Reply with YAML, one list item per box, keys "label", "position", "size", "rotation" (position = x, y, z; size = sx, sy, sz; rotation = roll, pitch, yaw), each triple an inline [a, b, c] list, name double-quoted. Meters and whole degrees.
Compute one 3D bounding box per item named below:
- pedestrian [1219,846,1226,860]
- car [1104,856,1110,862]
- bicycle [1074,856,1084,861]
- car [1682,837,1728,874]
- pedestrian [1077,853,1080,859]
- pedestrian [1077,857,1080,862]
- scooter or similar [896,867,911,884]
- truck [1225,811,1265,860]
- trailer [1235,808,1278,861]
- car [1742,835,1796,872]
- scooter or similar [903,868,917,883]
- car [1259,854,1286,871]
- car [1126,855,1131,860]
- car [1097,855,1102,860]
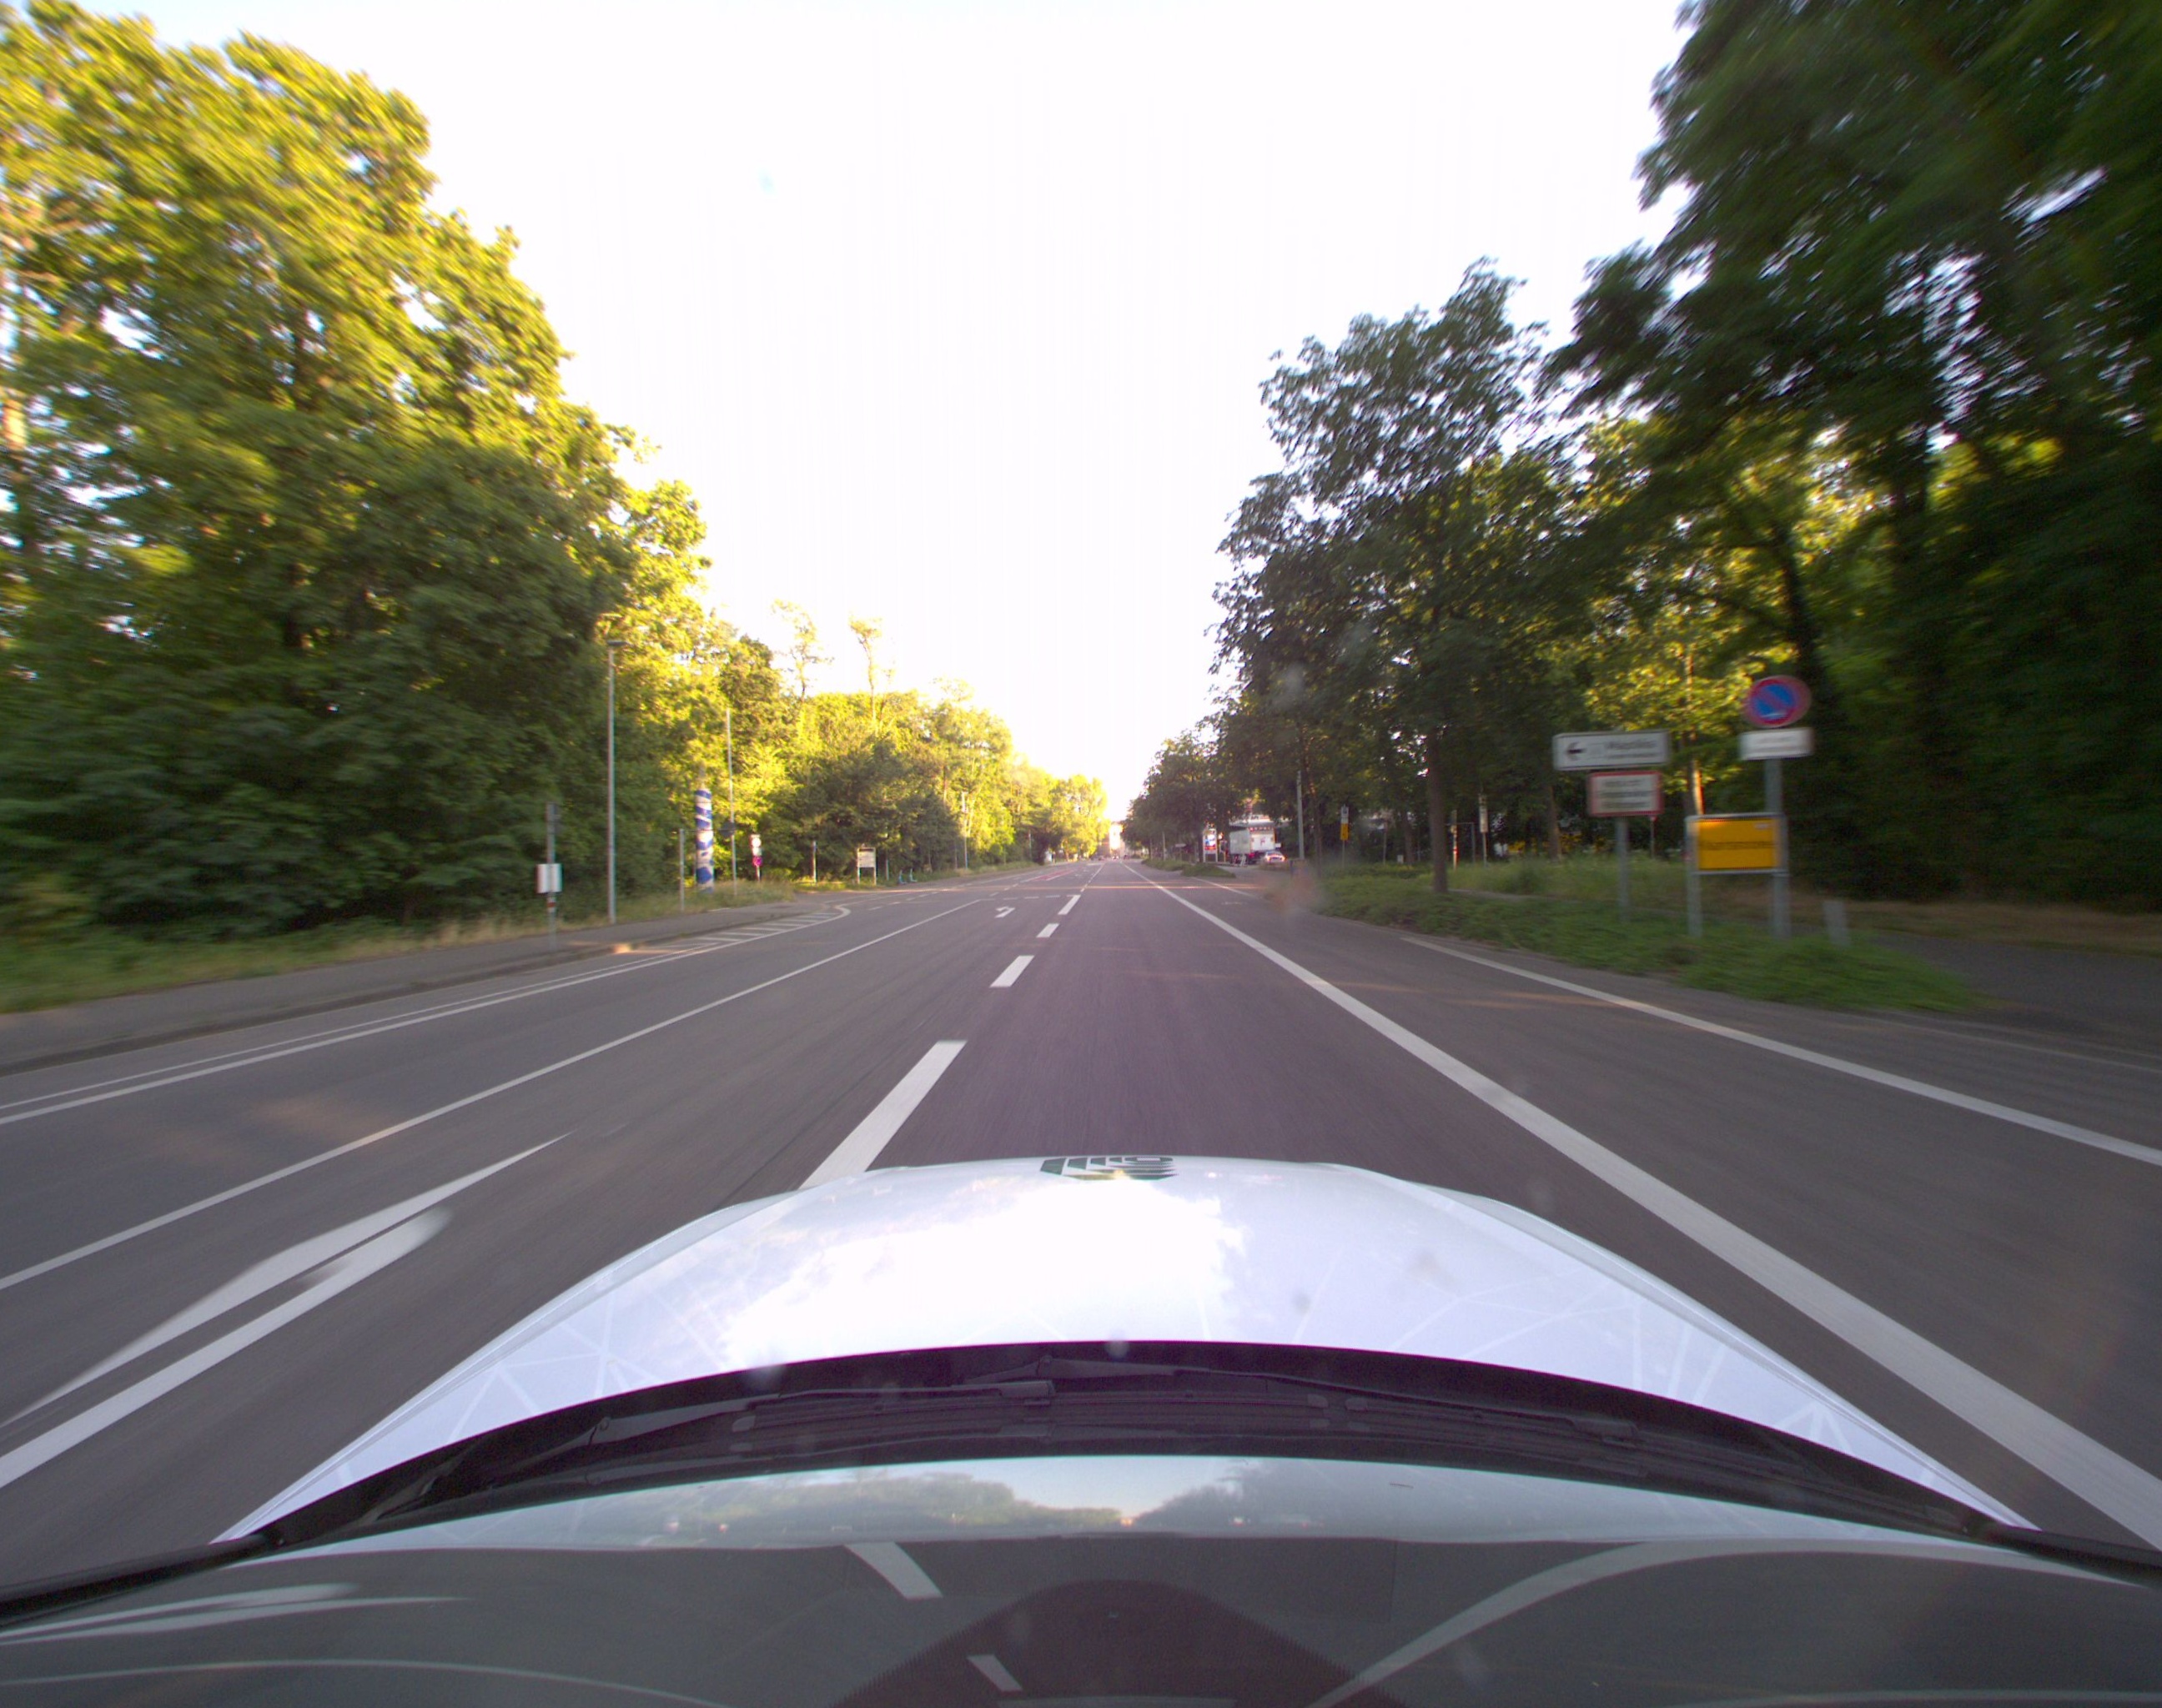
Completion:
- label: "pedestrian"
  position: [17.325, -0.128, 99.777]
  size: [0.753, 1.798, 0.708]
  rotation: [-1, 0, 5]
- label: "car"
  position: [7.311, 1.415, 227.144]
  size: [1.487, 1.486, 3.493]
  rotation: [-2, 0, 3]
- label: "bicycle"
  position: [-0.600, 1.335, 227.391]
  size: [2.446, 1.195, 0.759]
  rotation: [-2, -1, 11]
- label: "car"
  position: [29.372, 0.048, 38.393]
  size: [1.521, 1.585, 3.865]
  rotation: [-2, 0, 35]
- label: "pedestrian"
  position: [-0.634, 0.545, 227.369]
  size: [0.785, 1.580, 0.748]
  rotation: [-1, 0, 11]
- label: "pedestrian"
  position: [-0.817, 1.526, 235.391]
  size: [0.785, 1.580, 0.748]
  rotation: [-1, 0, 11]
- label: "scooter or similar"
  position: [-12.054, 1.441, 55.267]
  size: [0.357, 1.110, 0.885]
  rotation: [-2, 0, 44]
- label: "truck"
  position: [19.265, -2.071, 96.249]
  size: [3.022, 5.455, 8.412]
  rotation: [-2, 0, 1]
- label: "trailer"
  position: [19.048, -2.045, 88.914]
  size: [3.009, 5.462, 7.938]
  rotation: [-2, 0, 2]
- label: "car"
  position: [31.267, -0.050, 37.098]
  size: [1.521, 1.585, 3.865]
  rotation: [-2, 0, 35]
- label: "scooter or similar"
  position: [-12.314, 1.526, 58.644]
  size: [0.901, 1.068, 0.492]
  rotation: [-2, 0, -23]
- label: "car"
  position: [17.894, 0.792, 76.278]
  size: [1.761, 1.583, 4.826]
  rotation: [-1, 0, 6]
- label: "car"
  position: [14.585, 0.979, 250.831]
  size: [1.487, 1.486, 3.493]
  rotation: [-2, 0, 3]
- label: "car"
  position: [5.666, 1.133, 248.332]
  size: [1.487, 1.291, 3.493]
  rotation: [-2, 0, 3]
